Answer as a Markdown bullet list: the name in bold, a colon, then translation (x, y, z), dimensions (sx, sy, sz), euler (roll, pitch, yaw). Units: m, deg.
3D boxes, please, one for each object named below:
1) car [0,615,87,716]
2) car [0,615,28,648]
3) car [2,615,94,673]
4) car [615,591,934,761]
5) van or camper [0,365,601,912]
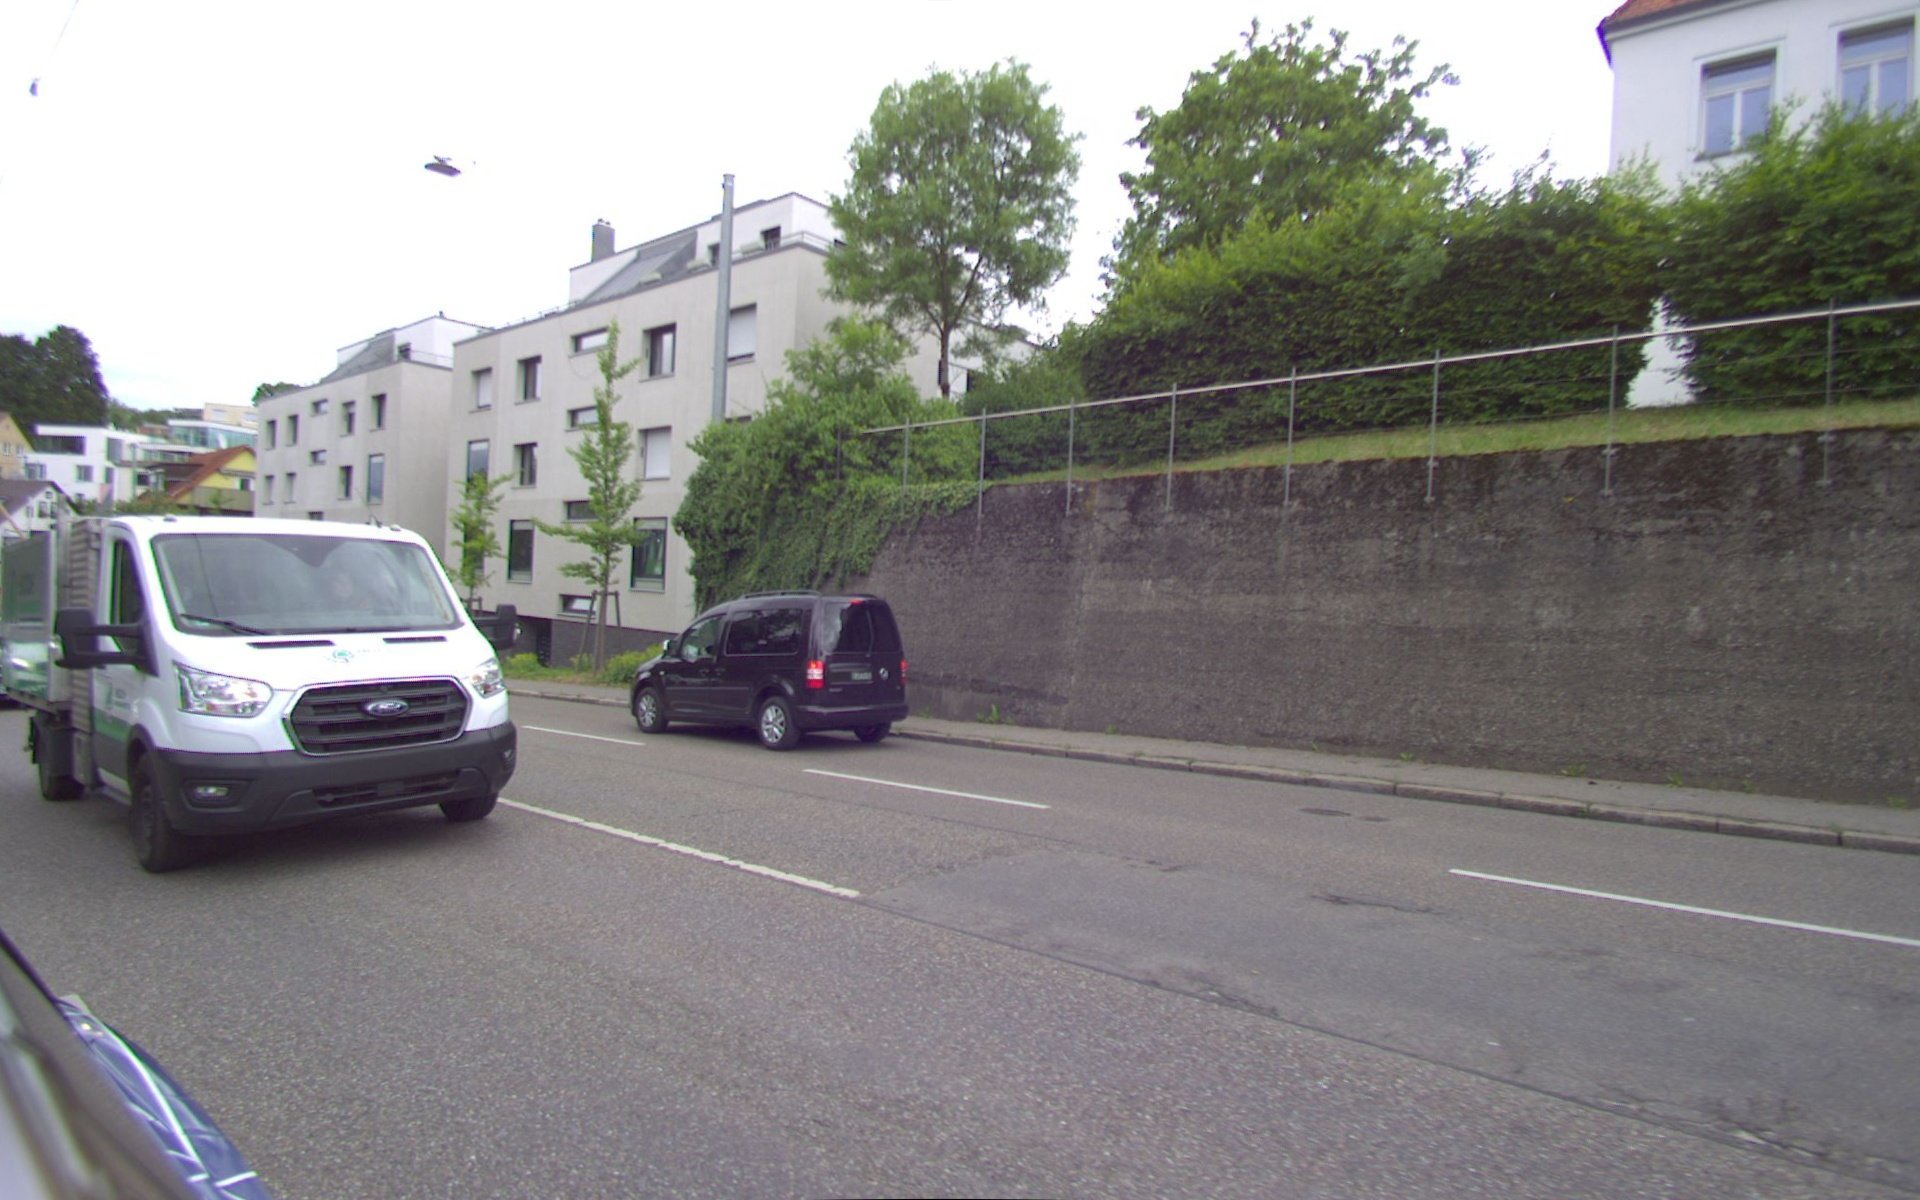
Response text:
- **car**: translation (-16.226, 1.031, 16.944), dimensions (4.333, 1.541, 1.854), euler (-1, -1, 41)
- **car**: translation (-56.808, 1.868, 60.112), dimensions (3.741, 1.899, 1.720), euler (-1, -2, 41)
- **car**: translation (-28.868, 1.354, 32.005), dimensions (3.866, 1.725, 1.687), euler (-1, -2, 41)
- **car**: translation (-2.511, 0.887, 13.105), dimensions (4.206, 1.856, 1.812), euler (-1, -3, 41)
- **van or camper**: translation (-5.420, 0.228, 7.774), dimensions (5.960, 2.682, 2.319), euler (-1, -1, 40)
